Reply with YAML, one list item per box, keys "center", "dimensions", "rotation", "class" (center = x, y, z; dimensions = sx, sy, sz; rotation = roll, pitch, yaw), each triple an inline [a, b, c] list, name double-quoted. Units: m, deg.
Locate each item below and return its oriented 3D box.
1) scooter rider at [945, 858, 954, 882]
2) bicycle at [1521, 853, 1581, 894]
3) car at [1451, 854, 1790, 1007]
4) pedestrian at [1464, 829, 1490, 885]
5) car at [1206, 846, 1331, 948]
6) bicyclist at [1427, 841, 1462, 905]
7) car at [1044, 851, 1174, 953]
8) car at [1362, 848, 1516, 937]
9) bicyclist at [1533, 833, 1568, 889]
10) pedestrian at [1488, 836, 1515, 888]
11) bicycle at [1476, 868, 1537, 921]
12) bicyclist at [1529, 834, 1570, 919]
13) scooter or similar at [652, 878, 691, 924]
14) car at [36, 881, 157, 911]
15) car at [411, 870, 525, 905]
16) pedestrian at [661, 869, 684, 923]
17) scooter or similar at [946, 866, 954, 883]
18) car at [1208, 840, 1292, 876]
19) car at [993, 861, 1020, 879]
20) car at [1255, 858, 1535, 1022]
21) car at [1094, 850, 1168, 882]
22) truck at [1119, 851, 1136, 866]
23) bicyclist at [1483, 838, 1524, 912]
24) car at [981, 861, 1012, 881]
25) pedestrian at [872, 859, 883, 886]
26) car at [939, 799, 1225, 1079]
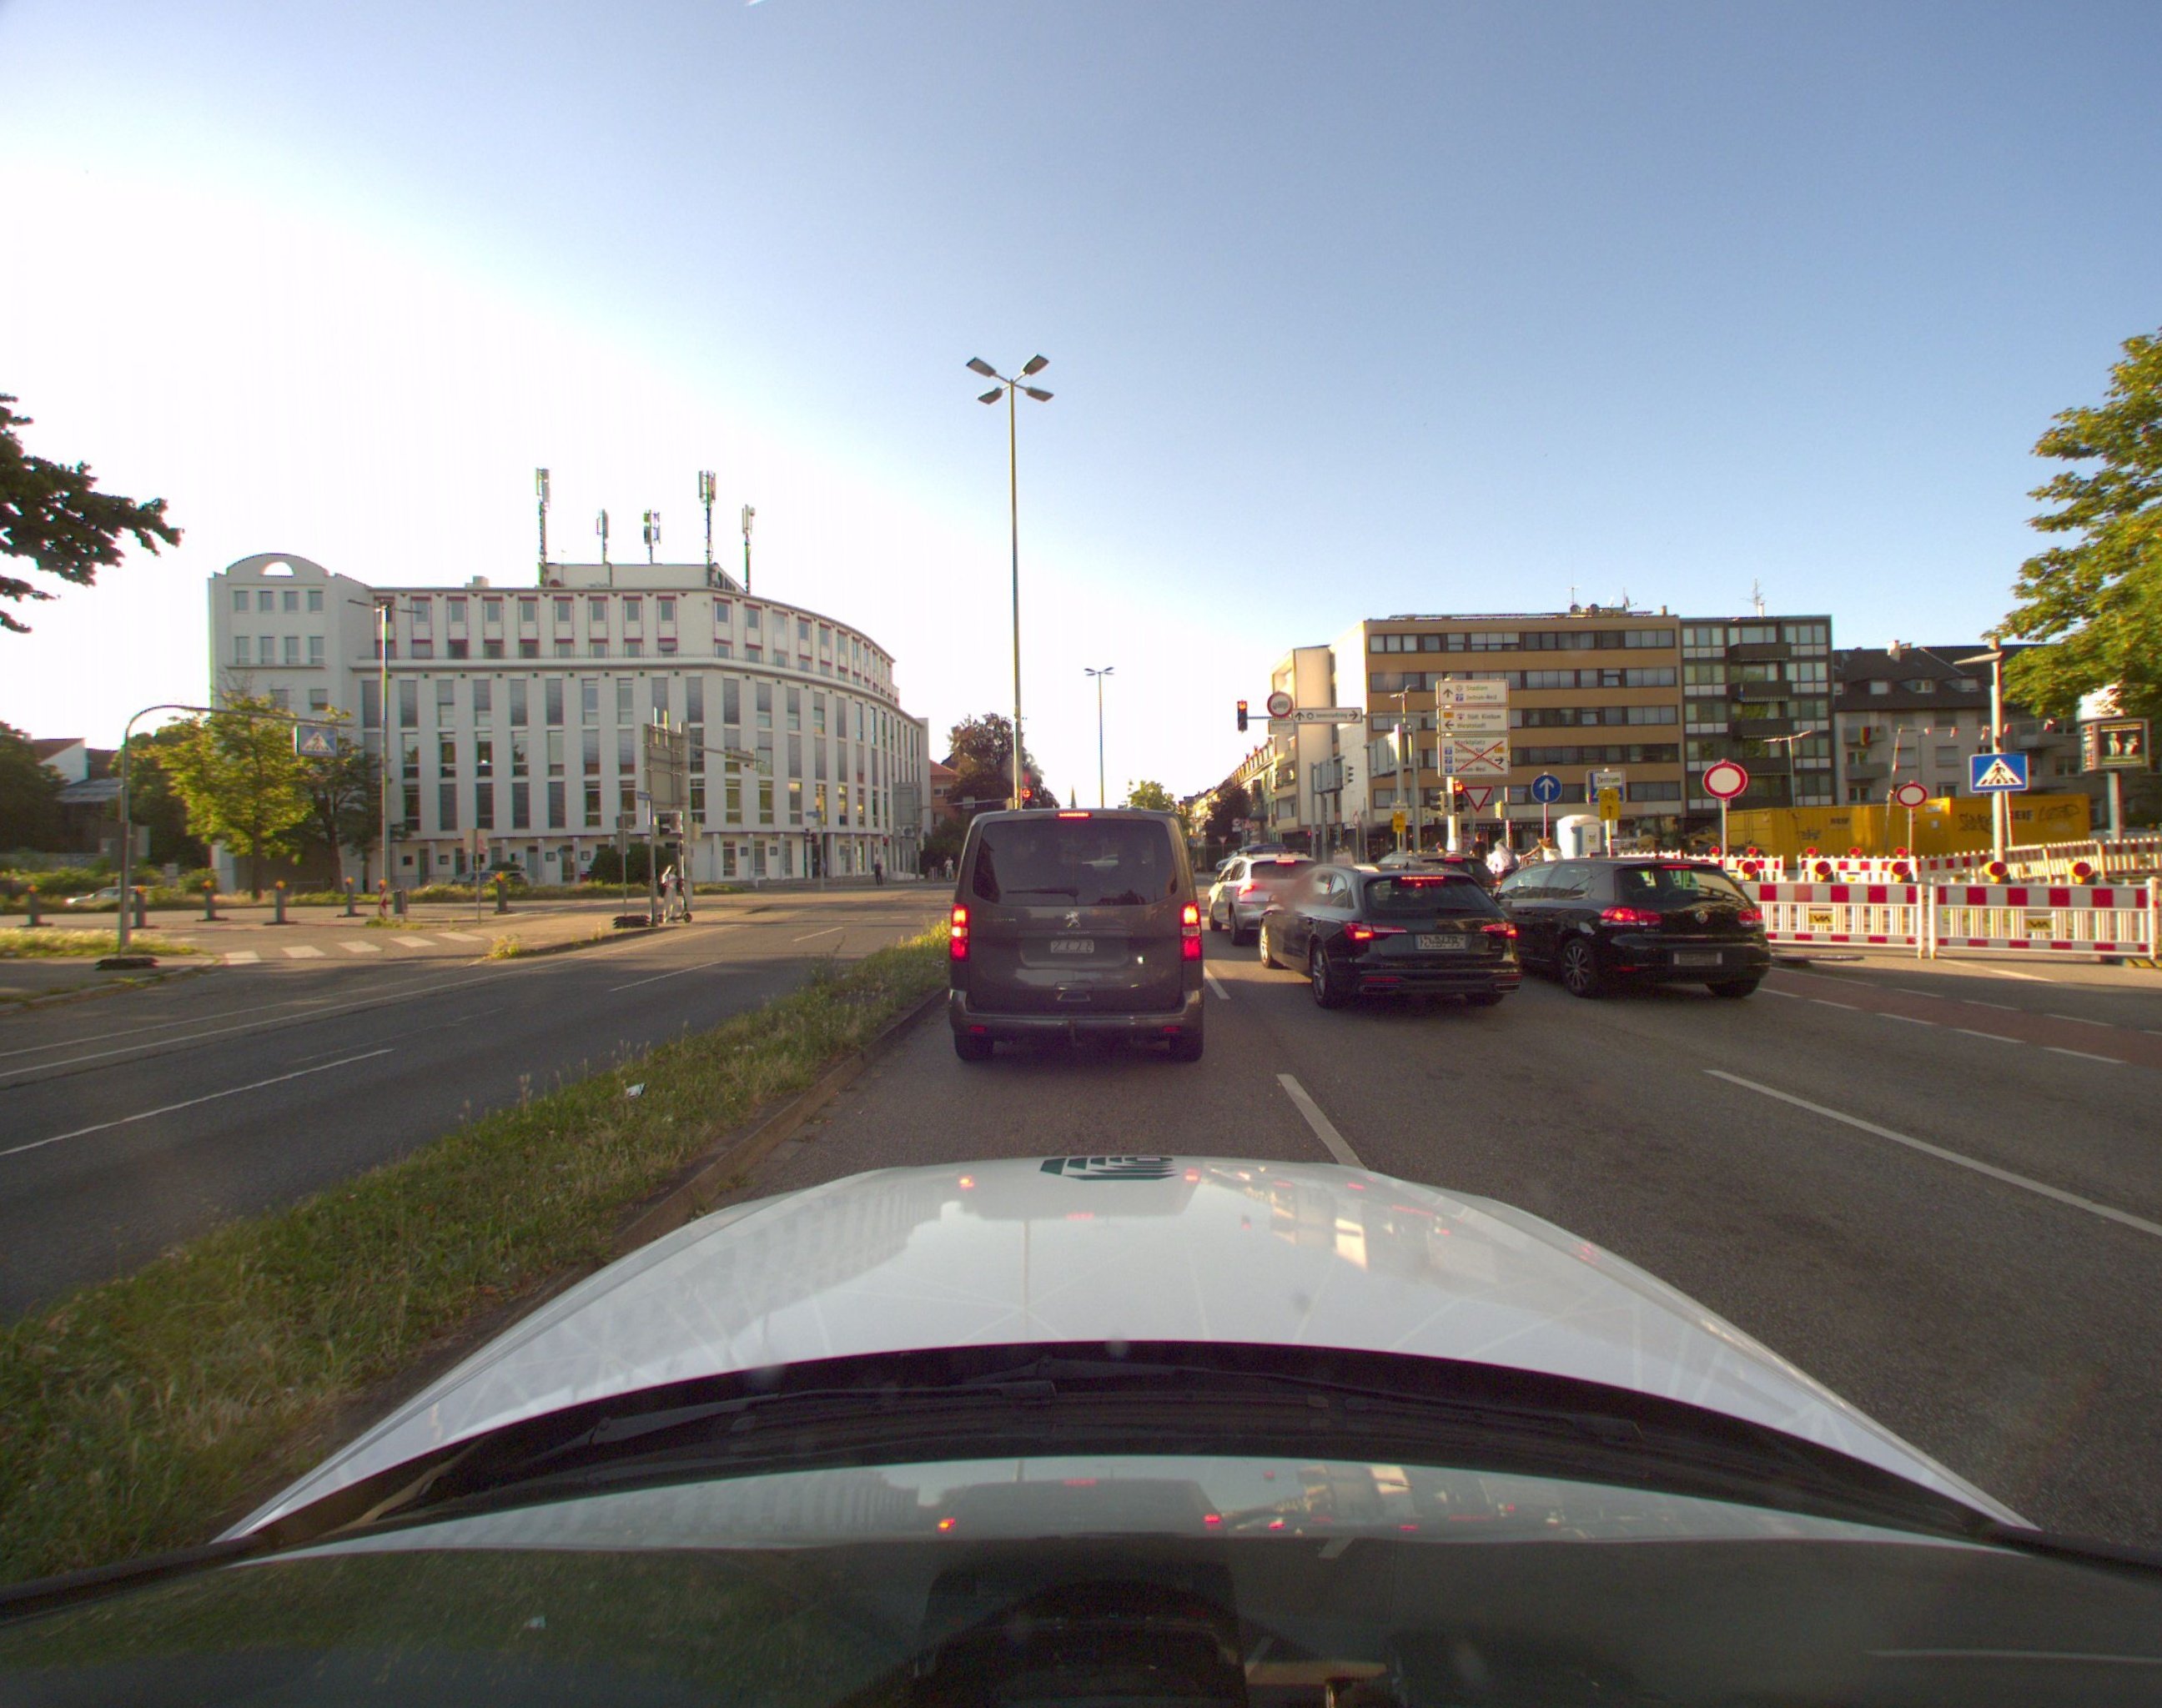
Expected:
- center: [-9.466, 1.119, 58.699]
  dimensions: [0.479, 1.697, 0.636]
  rotation: [-2, 0, 1]
  class: "scooter rider"
- center: [13.691, 0.555, 23.761]
  dimensions: [1.480, 1.161, 0.376]
  rotation: [0, 1, 39]
  class: "bicycle"
- center: [5.991, 0.732, 9.645]
  dimensions: [1.627, 1.449, 3.746]
  rotation: [0, 0, 2]
  class: "car"
- center: [13.122, 0.107, 26.987]
  dimensions: [0.567, 1.834, 0.488]
  rotation: [-2, 0, 4]
  class: "pedestrian"
- center: [3.281, 0.691, 14.894]
  dimensions: [1.523, 1.613, 3.746]
  rotation: [0, 0, 2]
  class: "car"
- center: [8.978, 0.465, 20.129]
  dimensions: [0.511, 1.525, 0.725]
  rotation: [-2, 0, 1]
  class: "bicyclist"
- center: [0.503, 0.757, 14.743]
  dimensions: [1.986, 1.530, 4.002]
  rotation: [-2, 0, 2]
  class: "car"
- center: [6.576, 0.644, 15.331]
  dimensions: [1.499, 1.449, 3.306]
  rotation: [-2, 0, 2]
  class: "car"
- center: [13.693, 0.190, 23.763]
  dimensions: [0.804, 1.589, 0.624]
  rotation: [0, 1, 39]
  class: "bicyclist"
- center: [13.828, 0.260, 26.794]
  dimensions: [0.599, 1.671, 0.455]
  rotation: [-2, 0, 4]
  class: "pedestrian"
- center: [8.912, 0.815, 17.109]
  dimensions: [0.335, 1.008, 1.856]
  rotation: [-2, 0, 2]
  class: "bicycle"
- center: [8.643, 0.406, 15.040]
  dimensions: [0.439, 1.525, 0.482]
  rotation: [-2, 0, 1]
  class: "bicyclist"
- center: [-11.467, 1.312, 22.812]
  dimensions: [0.893, 1.234, 0.370]
  rotation: [-2, 0, -10]
  class: "scooter or similar"
- center: [-52.188, 2.210, 43.229]
  dimensions: [3.979, 1.420, 1.785]
  rotation: [-2, 0, -4]
  class: "car"
- center: [-31.428, 1.698, 41.838]
  dimensions: [4.330, 1.549, 1.785]
  rotation: [-2, 0, -4]
  class: "car"
- center: [-11.533, 1.175, 22.979]
  dimensions: [0.474, 1.505, 0.334]
  rotation: [-2, 0, -10]
  class: "pedestrian"
- center: [-9.461, 1.473, 58.753]
  dimensions: [0.284, 1.189, 1.169]
  rotation: [-2, 0, 2]
  class: "scooter or similar"
- center: [9.377, 0.213, 45.224]
  dimensions: [4.238, 1.817, 1.983]
  rotation: [-2, 0, -26]
  class: "car"
- center: [-6.236, 1.313, 68.500]
  dimensions: [1.850, 1.420, 4.000]
  rotation: [-2, 0, 0]
  class: "car"
- center: [3.200, 0.764, 9.245]
  dimensions: [1.675, 1.421, 4.215]
  rotation: [0, 0, 2]
  class: "car"
- center: [2.574, 0.590, 41.306]
  dimensions: [1.675, 1.387, 3.708]
  rotation: [-3, 0, 44]
  class: "car"
- center: [7.090, 0.638, 123.677]
  dimensions: [2.116, 2.087, 4.641]
  rotation: [-2, 0, 8]
  class: "truck"
- center: [8.911, 0.430, 17.193]
  dimensions: [0.439, 1.525, 0.725]
  rotation: [-2, 0, 2]
  class: "bicyclist"
- center: [-6.479, 1.304, 62.846]
  dimensions: [1.850, 1.420, 4.000]
  rotation: [-2, 0, 0]
  class: "car"
- center: [-12.819, 1.164, 51.376]
  dimensions: [0.626, 1.722, 0.668]
  rotation: [-2, 0, -12]
  class: "pedestrian"
- center: [0.076, 0.571, 7.694]
  dimensions: [1.900, 1.863, 4.528]
  rotation: [0, 0, 2]
  class: "car"
